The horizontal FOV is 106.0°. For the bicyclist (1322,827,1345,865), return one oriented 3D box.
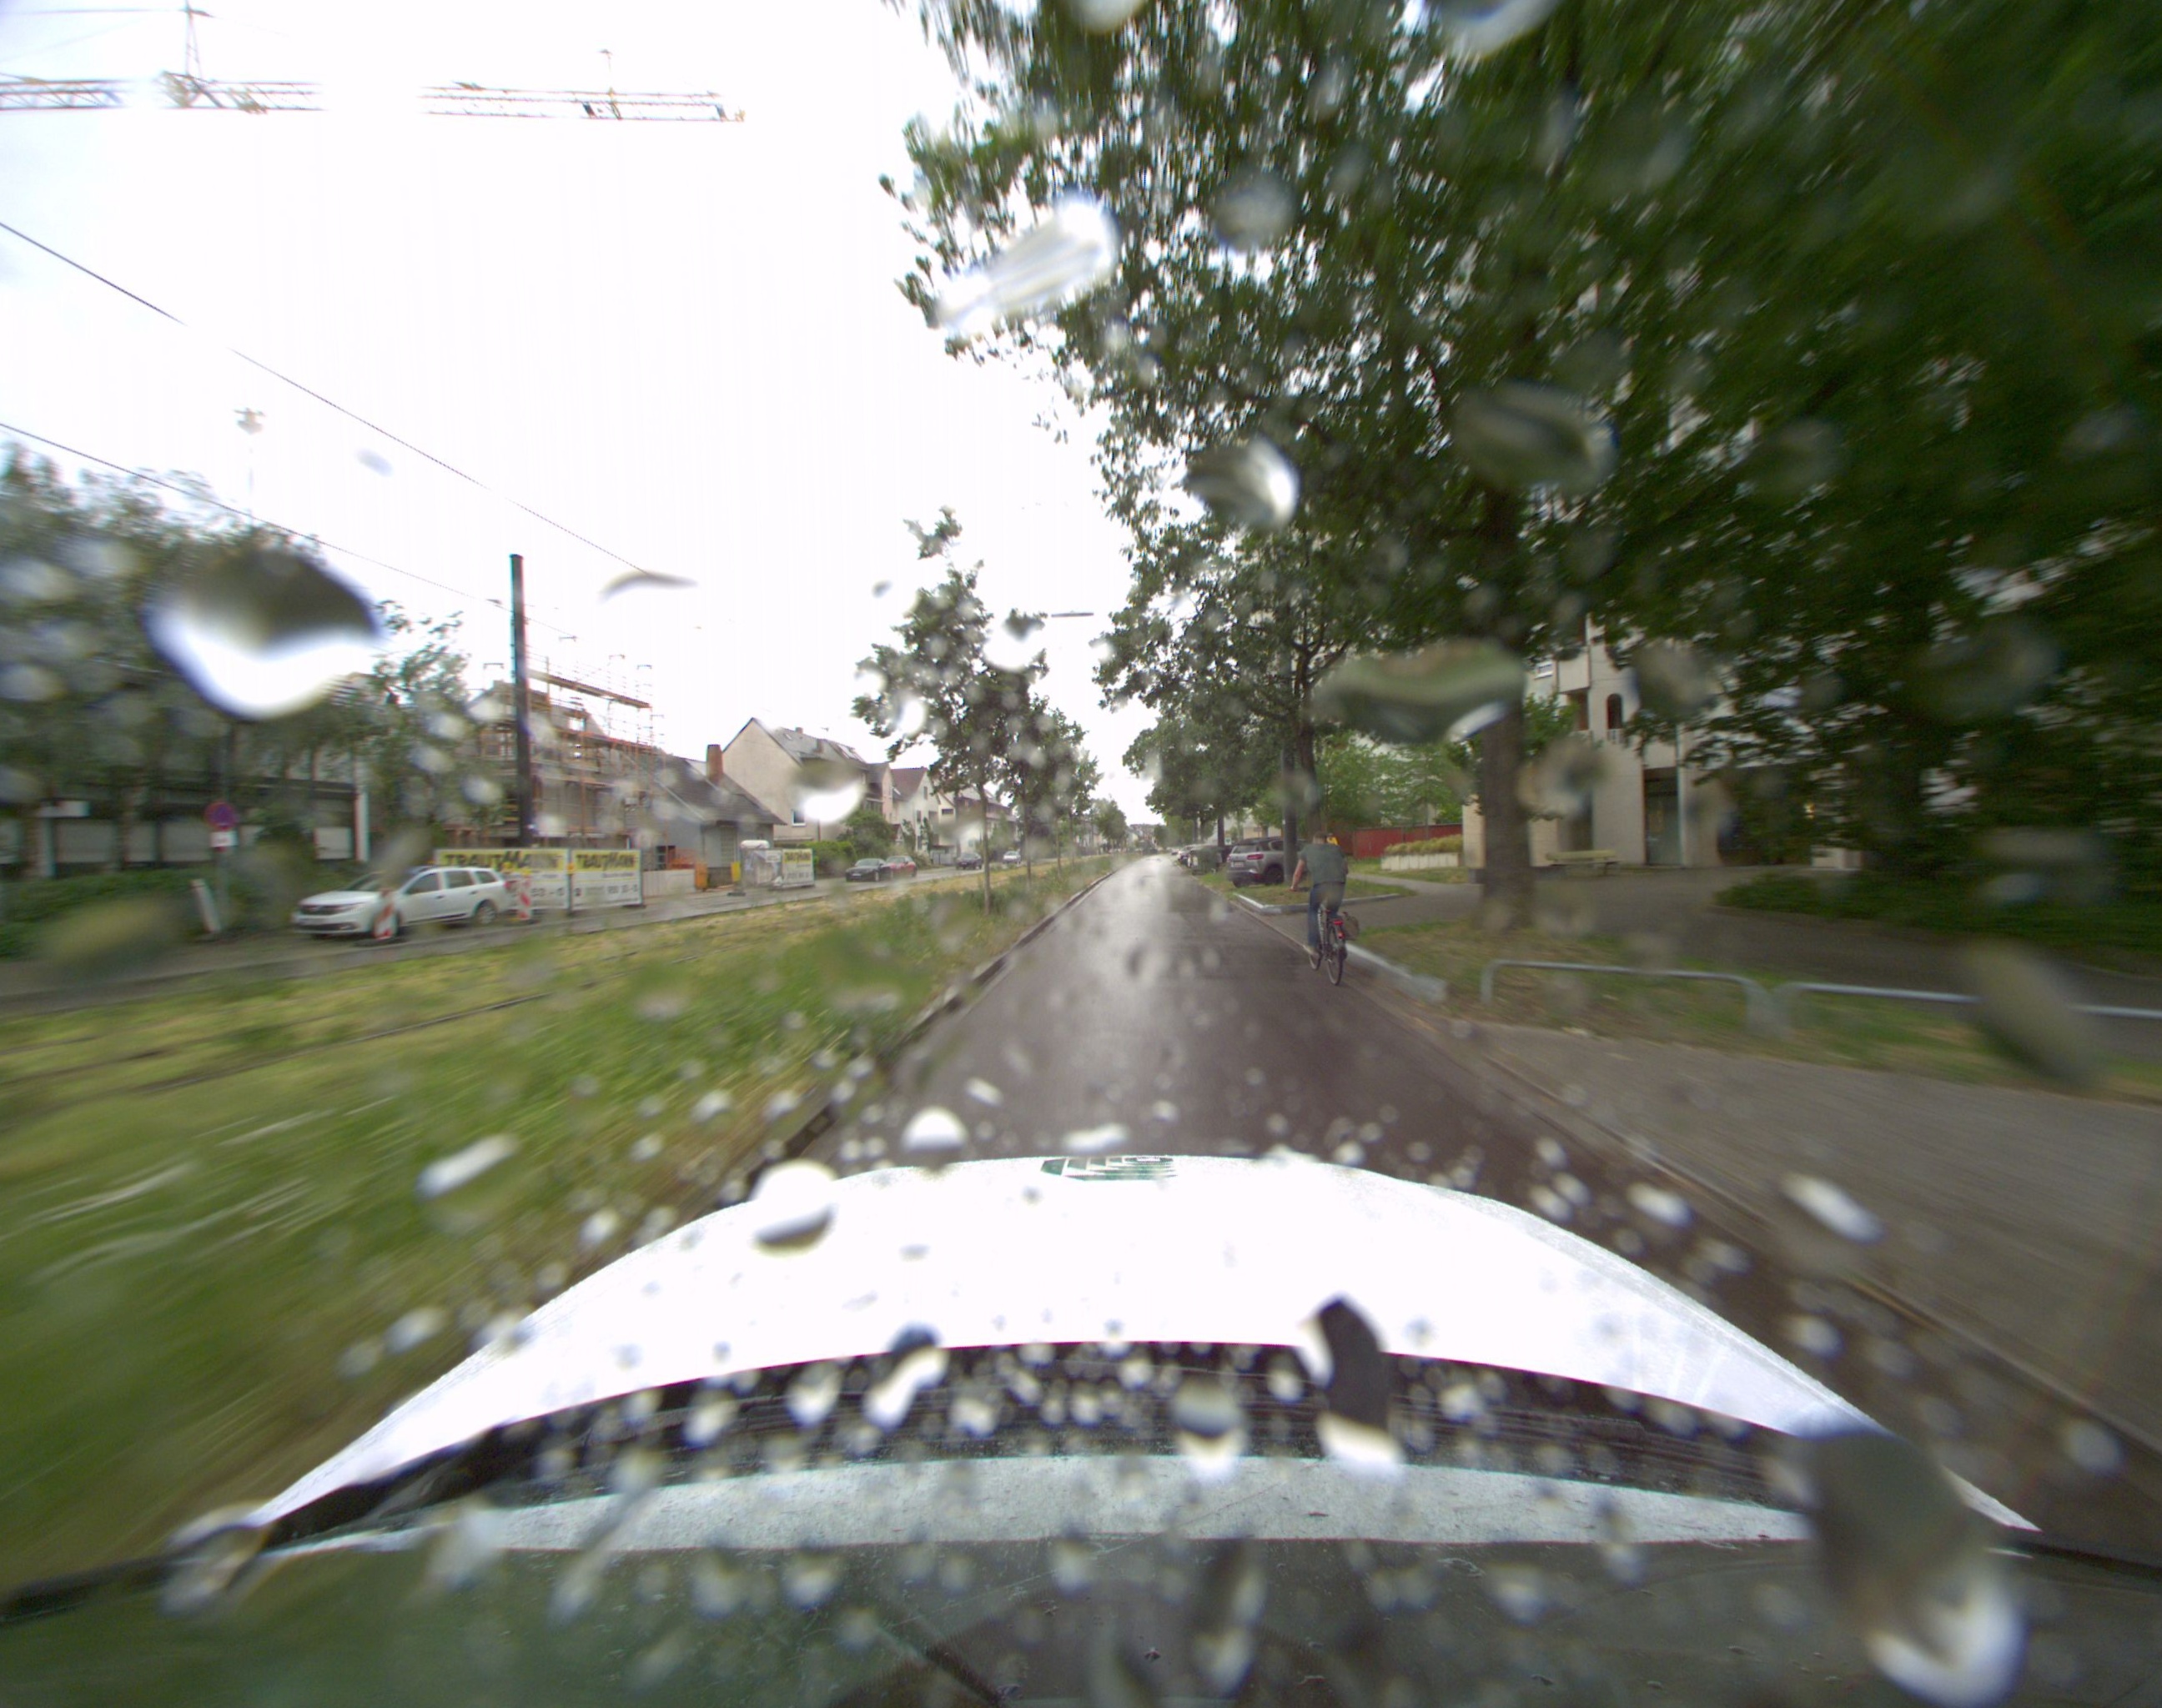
[{"bbox_3d":[10.902,-0.349,35.169,0.731,1.594,0.946,-2,0,4],"label":"bicyclist"}]

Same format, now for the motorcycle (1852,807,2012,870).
[{"bbox_3d":[18.596,-0.322,17.857,0.889,1.288,2.279,-3,0,-33],"label":"motorcycle"}]

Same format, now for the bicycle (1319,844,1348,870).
[{"bbox_3d":[10.920,0.104,35.245,0.731,1.056,2.053,-2,0,4],"label":"bicycle"}]

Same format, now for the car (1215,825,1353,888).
[{"bbox_3d":[6.850,0.061,27.448,4.159,1.719,1.982,-5,2,-28],"label":"car"}]

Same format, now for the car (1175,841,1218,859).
[{"bbox_3d":[11.113,-0.386,78.150,4.055,1.513,1.569,-2,1,-32],"label":"car"}]

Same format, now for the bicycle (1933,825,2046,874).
[{"bbox_3d":[18.166,-0.074,16.322,0.410,0.925,1.450,-2,0,-33],"label":"bicycle"}]

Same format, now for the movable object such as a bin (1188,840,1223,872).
[{"bbox_3d":[6.299,0.117,41.151,1.128,1.457,1.393,-8,2,-16],"label":"movable object such as a bin"}]

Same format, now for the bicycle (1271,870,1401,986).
[{"bbox_3d":[2.937,0.790,9.708,0.806,1.096,2.518,-2,0,2],"label":"bicycle"}]

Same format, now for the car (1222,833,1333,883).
[{"bbox_3d":[7.358,0.120,30.402,3.901,1.567,1.715,-5,1,-32],"label":"car"}]

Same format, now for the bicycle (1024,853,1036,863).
[{"bbox_3d":[-5.955,0.445,95.419,1.013,1.027,3.201,-2,1,5],"label":"bicycle"}]

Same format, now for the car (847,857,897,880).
[{"bbox_3d":[-12.391,0.838,48.523,1.655,1.244,4.077,0,1,5],"label":"car"}]

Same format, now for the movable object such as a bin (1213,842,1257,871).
[{"bbox_3d":[7.789,0.111,41.362,1.685,1.326,1.393,-4,1,-17],"label":"movable object such as a bin"}]

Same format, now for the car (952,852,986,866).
[{"bbox_3d":[-10.154,0.442,74.371,1.886,1.244,4.697,0,1,7],"label":"car"}]

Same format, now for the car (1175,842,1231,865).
[{"bbox_3d":[8.538,-0.052,56.851,4.062,1.443,1.567,-2,1,-40],"label":"car"}]

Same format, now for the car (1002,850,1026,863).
[{"bbox_3d":[-7.955,0.249,96.667,1.886,1.469,4.697,0,1,7],"label":"car"}]

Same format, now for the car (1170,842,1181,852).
[{"bbox_3d":[17.243,-1.272,148.079,1.824,1.586,4.006,-2,1,5],"label":"car"}]

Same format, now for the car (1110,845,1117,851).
[{"bbox_3d":[8.589,-1.549,214.622,1.834,1.672,4.006,-2,1,5],"label":"car"}]

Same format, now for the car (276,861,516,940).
[{"bbox_3d":[-15.968,1.000,19.365,1.702,1.542,4.429,1,1,5],"label":"car"}]

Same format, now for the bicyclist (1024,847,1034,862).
[{"bbox_3d":[-6.022,0.030,94.664,1.014,1.685,1.093,-2,0,4],"label":"bicyclist"}]

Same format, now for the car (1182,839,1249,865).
[{"bbox_3d":[8.491,-0.125,51.199,4.053,1.519,1.570,-2,0,-30],"label":"car"}]

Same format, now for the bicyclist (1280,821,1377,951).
[{"bbox_3d":[2.924,0.356,9.726,0.806,1.432,1.061,-2,0,2],"label":"bicyclist"}]

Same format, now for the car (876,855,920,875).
[{"bbox_3d":[-12.021,0.697,53.701,1.666,1.244,3.861,0,1,5],"label":"car"}]

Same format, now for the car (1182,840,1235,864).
[{"bbox_3d":[10.001,-0.167,63.737,4.055,1.703,1.569,-2,0,-32],"label":"car"}]

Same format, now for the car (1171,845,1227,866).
[{"bbox_3d":[8.815,0.099,60.720,4.055,1.443,1.569,-2,1,-32],"label":"car"}]
